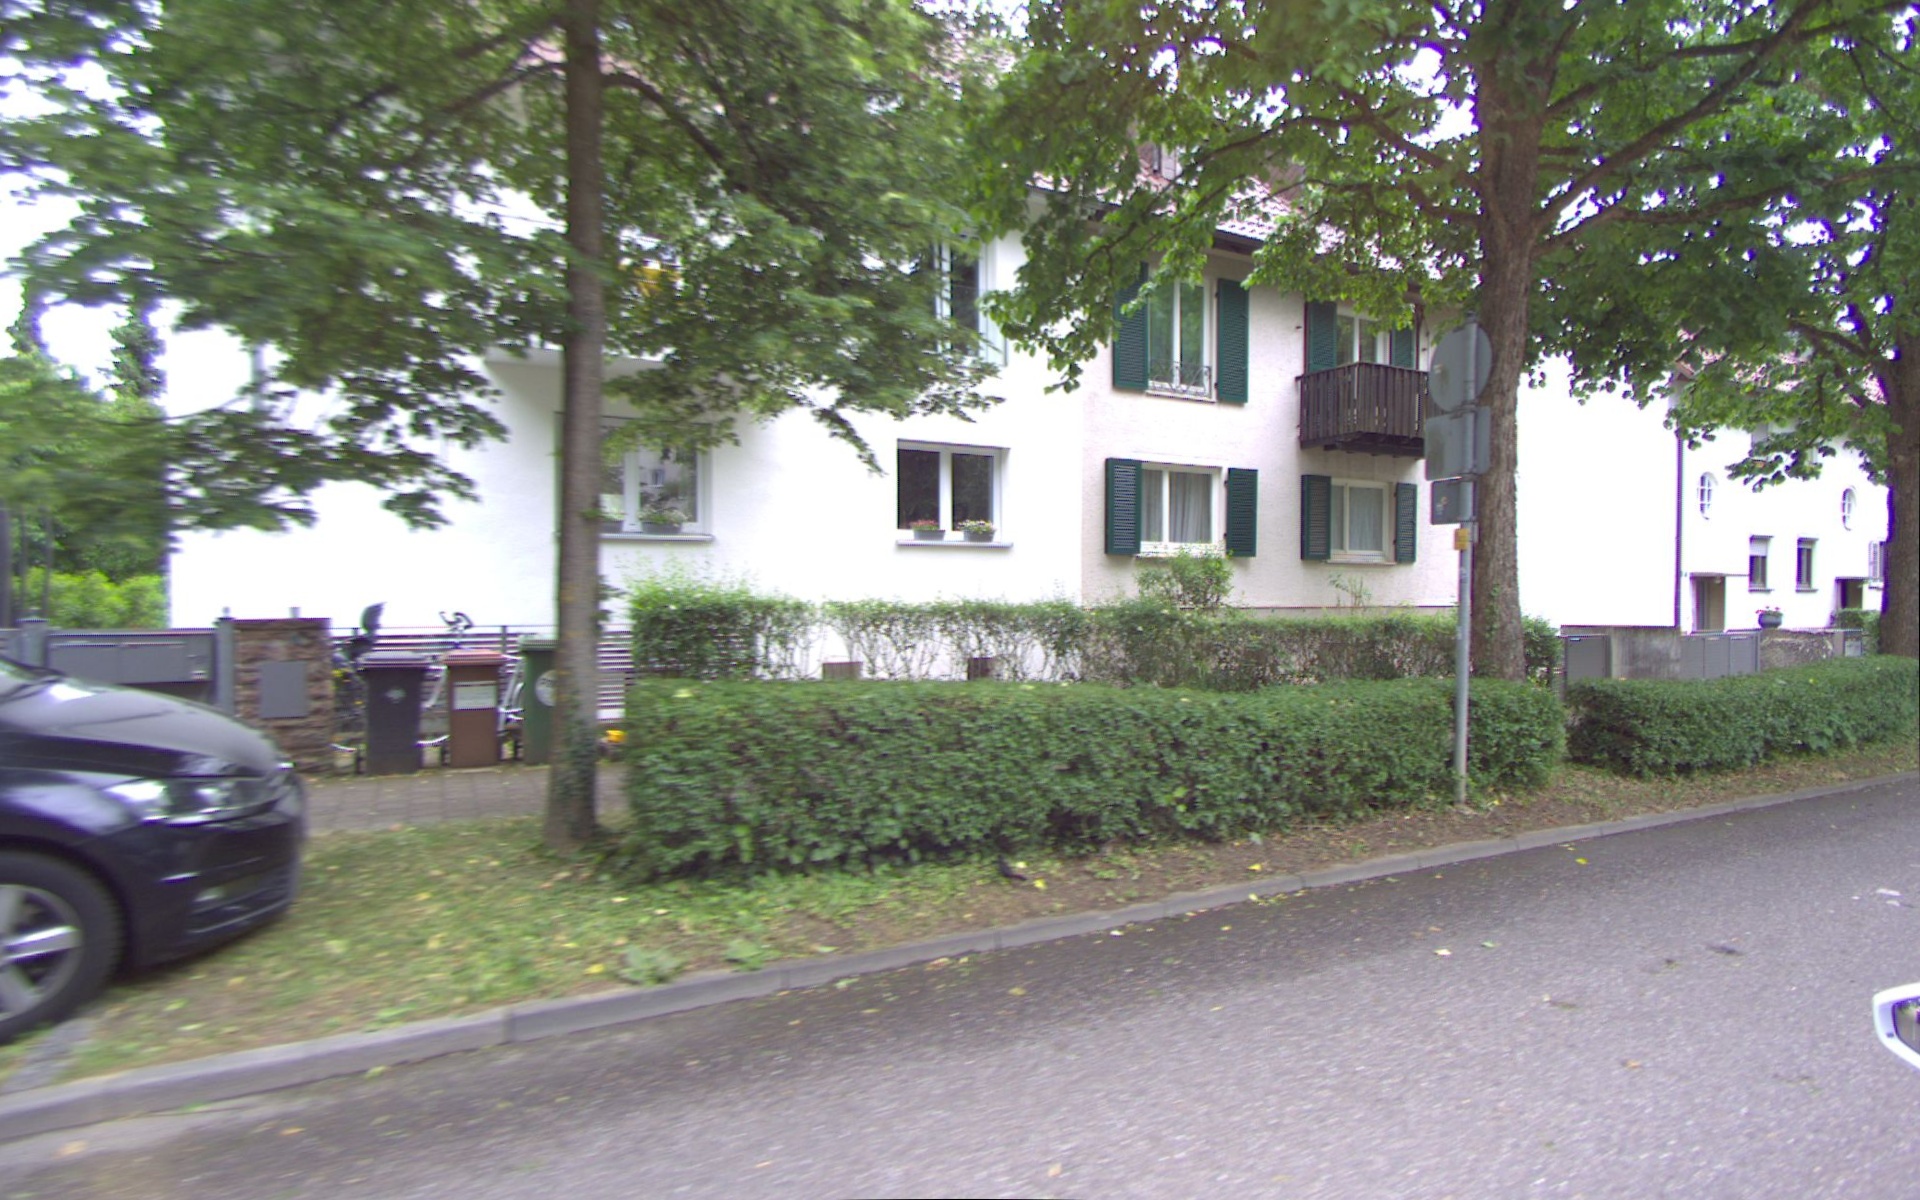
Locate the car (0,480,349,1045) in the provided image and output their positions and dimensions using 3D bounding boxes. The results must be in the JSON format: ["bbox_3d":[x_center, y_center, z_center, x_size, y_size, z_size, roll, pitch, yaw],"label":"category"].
[{"bbox_3d":[-4.563,0.478,3.211,4.406,1.777,1.814,1,0,-34],"label":"car"}]

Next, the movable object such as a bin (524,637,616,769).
[{"bbox_3d":[-3.273,0.838,8.432,0.596,1.039,0.556,1,-1,-35],"label":"movable object such as a bin"}]

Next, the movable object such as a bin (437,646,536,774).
[{"bbox_3d":[-3.823,0.863,8.107,0.634,0.953,0.556,1,-1,-35],"label":"movable object such as a bin"}]

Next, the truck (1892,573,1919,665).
[{"bbox_3d":[35.201,0.704,33.326,2.488,3.173,5.769,1,0,-29],"label":"truck"}]

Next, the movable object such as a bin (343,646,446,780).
[{"bbox_3d":[-4.350,0.844,7.721,0.634,0.953,0.556,1,-1,-35],"label":"movable object such as a bin"}]
